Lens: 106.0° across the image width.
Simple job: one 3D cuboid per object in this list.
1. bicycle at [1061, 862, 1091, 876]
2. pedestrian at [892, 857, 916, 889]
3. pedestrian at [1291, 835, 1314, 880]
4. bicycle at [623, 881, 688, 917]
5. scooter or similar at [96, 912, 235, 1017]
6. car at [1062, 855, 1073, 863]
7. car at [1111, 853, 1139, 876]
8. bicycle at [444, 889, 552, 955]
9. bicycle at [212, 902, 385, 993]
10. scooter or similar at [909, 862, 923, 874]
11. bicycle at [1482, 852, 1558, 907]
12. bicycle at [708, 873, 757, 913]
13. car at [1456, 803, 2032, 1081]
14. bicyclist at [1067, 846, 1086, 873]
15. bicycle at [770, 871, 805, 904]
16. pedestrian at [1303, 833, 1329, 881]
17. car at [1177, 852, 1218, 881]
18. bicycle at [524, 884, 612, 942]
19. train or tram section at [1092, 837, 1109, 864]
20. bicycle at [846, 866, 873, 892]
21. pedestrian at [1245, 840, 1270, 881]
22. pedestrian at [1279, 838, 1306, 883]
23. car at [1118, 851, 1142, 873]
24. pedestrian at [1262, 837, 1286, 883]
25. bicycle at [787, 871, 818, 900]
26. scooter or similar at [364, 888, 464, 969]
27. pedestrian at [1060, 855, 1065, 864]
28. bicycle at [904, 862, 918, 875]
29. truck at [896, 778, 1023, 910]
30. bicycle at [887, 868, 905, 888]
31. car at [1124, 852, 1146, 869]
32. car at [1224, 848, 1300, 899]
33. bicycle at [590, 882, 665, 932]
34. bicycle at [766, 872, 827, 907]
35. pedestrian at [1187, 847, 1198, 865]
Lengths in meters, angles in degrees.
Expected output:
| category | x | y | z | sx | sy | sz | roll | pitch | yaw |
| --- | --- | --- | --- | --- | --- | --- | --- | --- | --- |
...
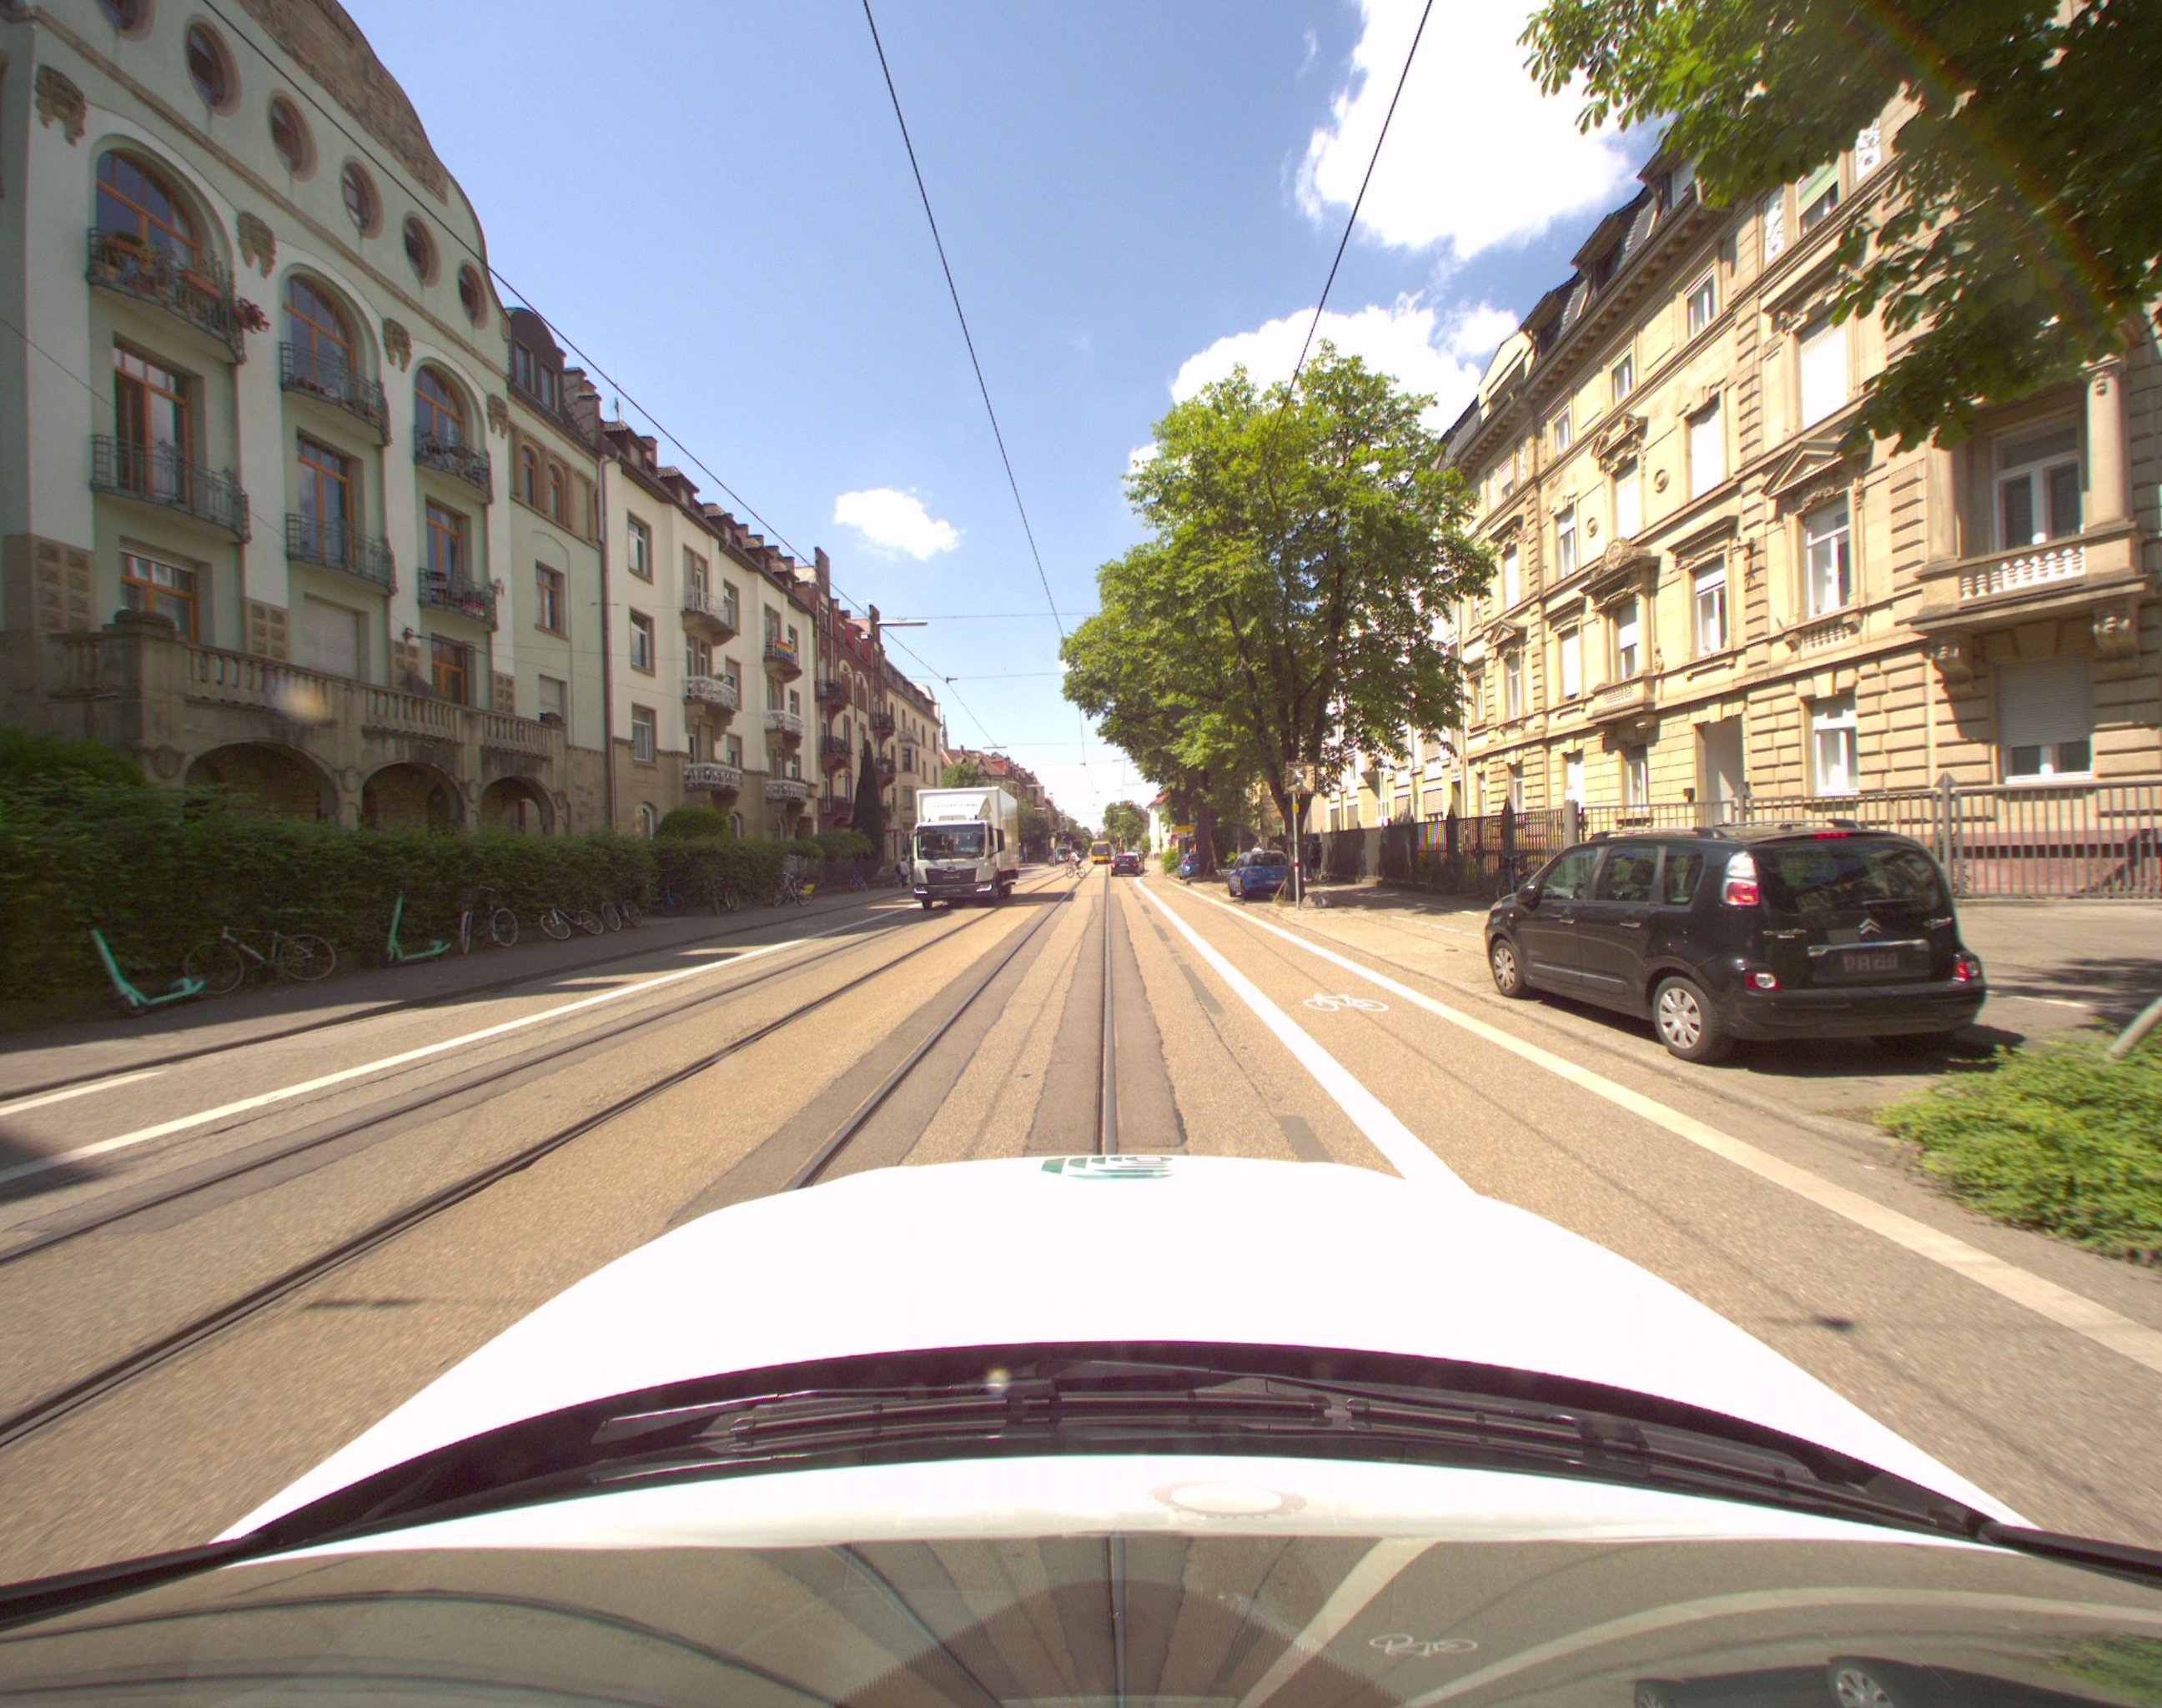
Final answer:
| category | x | y | z | sx | sy | sz | roll | pitch | yaw |
| --- | --- | --- | --- | --- | --- | --- | --- | --- | --- |
| bicycle | -0.314 | 0.918 | 50.439 | 1.798 | 0.817 | 0.759 | 1 | 2 | 45 |
| pedestrian | -8.909 | 0.965 | 40.988 | 0.897 | 1.542 | 0.985 | -2 | 0 | 1 |
| pedestrian | 9.200 | 0.135 | 33.897 | 0.658 | 1.811 | 0.977 | -2 | 0 | 2 |
| bicycle | -11.543 | 1.225 | 22.100 | 1.566 | 0.928 | 0.391 | 1 | 0 | 1 |
| scooter or similar | -10.359 | 1.214 | 9.267 | 0.406 | 1.020 | 1.218 | -2 | 0 | -14 |
| car | -2.633 | 0.952 | 157.475 | 1.815 | 1.413 | 4.432 | -2 | 0 | 3 |
| car | 2.885 | 0.634 | 52.892 | 1.715 | 1.409 | 4.569 | 0 | 0 | 4 |
| bicycle | -10.254 | 1.163 | 14.406 | 0.605 | 0.989 | 1.708 | 2 | 0 | 1 |
| bicycle | -10.396 | 1.202 | 10.916 | 0.605 | 0.989 | 1.708 | 2 | 0 | 1 |
| scooter or similar | -14.067 | 1.183 | 69.277 | 0.699 | 1.044 | 1.196 | 0 | -1 | -39 |
| bicycle | 9.173 | 0.496 | 17.089 | 0.605 | 1.071 | 1.982 | -2 | 0 | 4 |
| bicycle | -10.098 | 1.109 | 23.661 | 0.605 | 1.032 | 1.772 | 2 | 0 | 1 |
| car | 5.053 | 0.540 | 7.105 | 1.723 | 1.616 | 4.086 | -4 | 0 | 2 |
| bicyclist | -0.285 | 0.323 | 50.296 | 0.820 | 1.663 | 0.763 | -1 | -1 | 44 |
| bicycle | -9.742 | 1.107 | 27.042 | 0.462 | 0.999 | 1.709 | 2 | 0 | 2 |
| pedestrian | 9.170 | 0.119 | 31.800 | 0.682 | 1.797 | 1.084 | -2 | 0 | 2 |
| car | 6.283 | 0.650 | 44.252 | 1.671 | 1.443 | 3.721 | -2 | 0 | 1 |
| bicycle | -10.211 | 1.149 | 16.293 | 0.605 | 0.989 | 1.708 | 2 | 0 | 1 |
| train or tram section | 2.701 | -0.519 | 111.900 | 2.182 | 3.482 | 8.848 | -2 | 0 | 2 |
| bicycle | -9.687 | 1.066 | 35.696 | 0.605 | 1.065 | 1.772 | 2 | 0 | 1 |
| pedestrian | 7.314 | 0.261 | 33.762 | 0.763 | 1.651 | 0.974 | -2 | 0 | 1 |
| pedestrian | 8.471 | 0.243 | 32.611 | 0.784 | 1.761 | 1.052 | -2 | 0 | 1 |
| car | 3.611 | 0.545 | 59.707 | 1.677 | 1.484 | 3.688 | -2 | 0 | 4 |
| pedestrian | 7.695 | 0.248 | 32.528 | 0.702 | 1.776 | 0.947 | -2 | 0 | 1 |
| bicycle | -9.854 | 1.103 | 28.869 | 0.411 | 0.966 | 1.726 | 2 | 0 | 2 |
| scooter or similar | -10.280 | 1.128 | 12.603 | 0.404 | 1.120 | 1.292 | -1 | 0 | 4 |
| pedestrian | -2.645 | 0.766 | 117.215 | 0.612 | 1.243 | 0.627 | -2 | 0 | -4 |
| bicycle | -14.016 | 1.190 | 67.125 | 0.366 | 1.066 | 1.473 | -1 | -1 | 25 |
| truck | -3.715 | -0.292 | 27.102 | 2.776 | 3.619 | 8.256 | -2 | 0 | 1 |
| bicycle | -9.465 | 1.205 | 41.670 | 0.409 | 0.961 | 1.842 | 1 | -1 | 2 |
| car | 4.785 | 0.545 | 71.774 | 1.682 | 1.514 | 3.828 | 0 | 0 | 6 |
| car | 5.715 | 0.569 | 26.035 | 1.685 | 1.453 | 3.474 | -2 | 0 | 1 |
| bicycle | -10.099 | 1.163 | 18.196 | 0.605 | 0.976 | 1.772 | 2 | 0 | 1 |
| bicycle | -9.023 | 1.120 | 25.883 | 0.602 | 0.999 | 1.786 | -2 | 0 | 37 |
| pedestrian | 10.544 | 0.185 | 77.214 | 0.854 | 1.645 | 0.836 | -2 | 0 | 0 |
